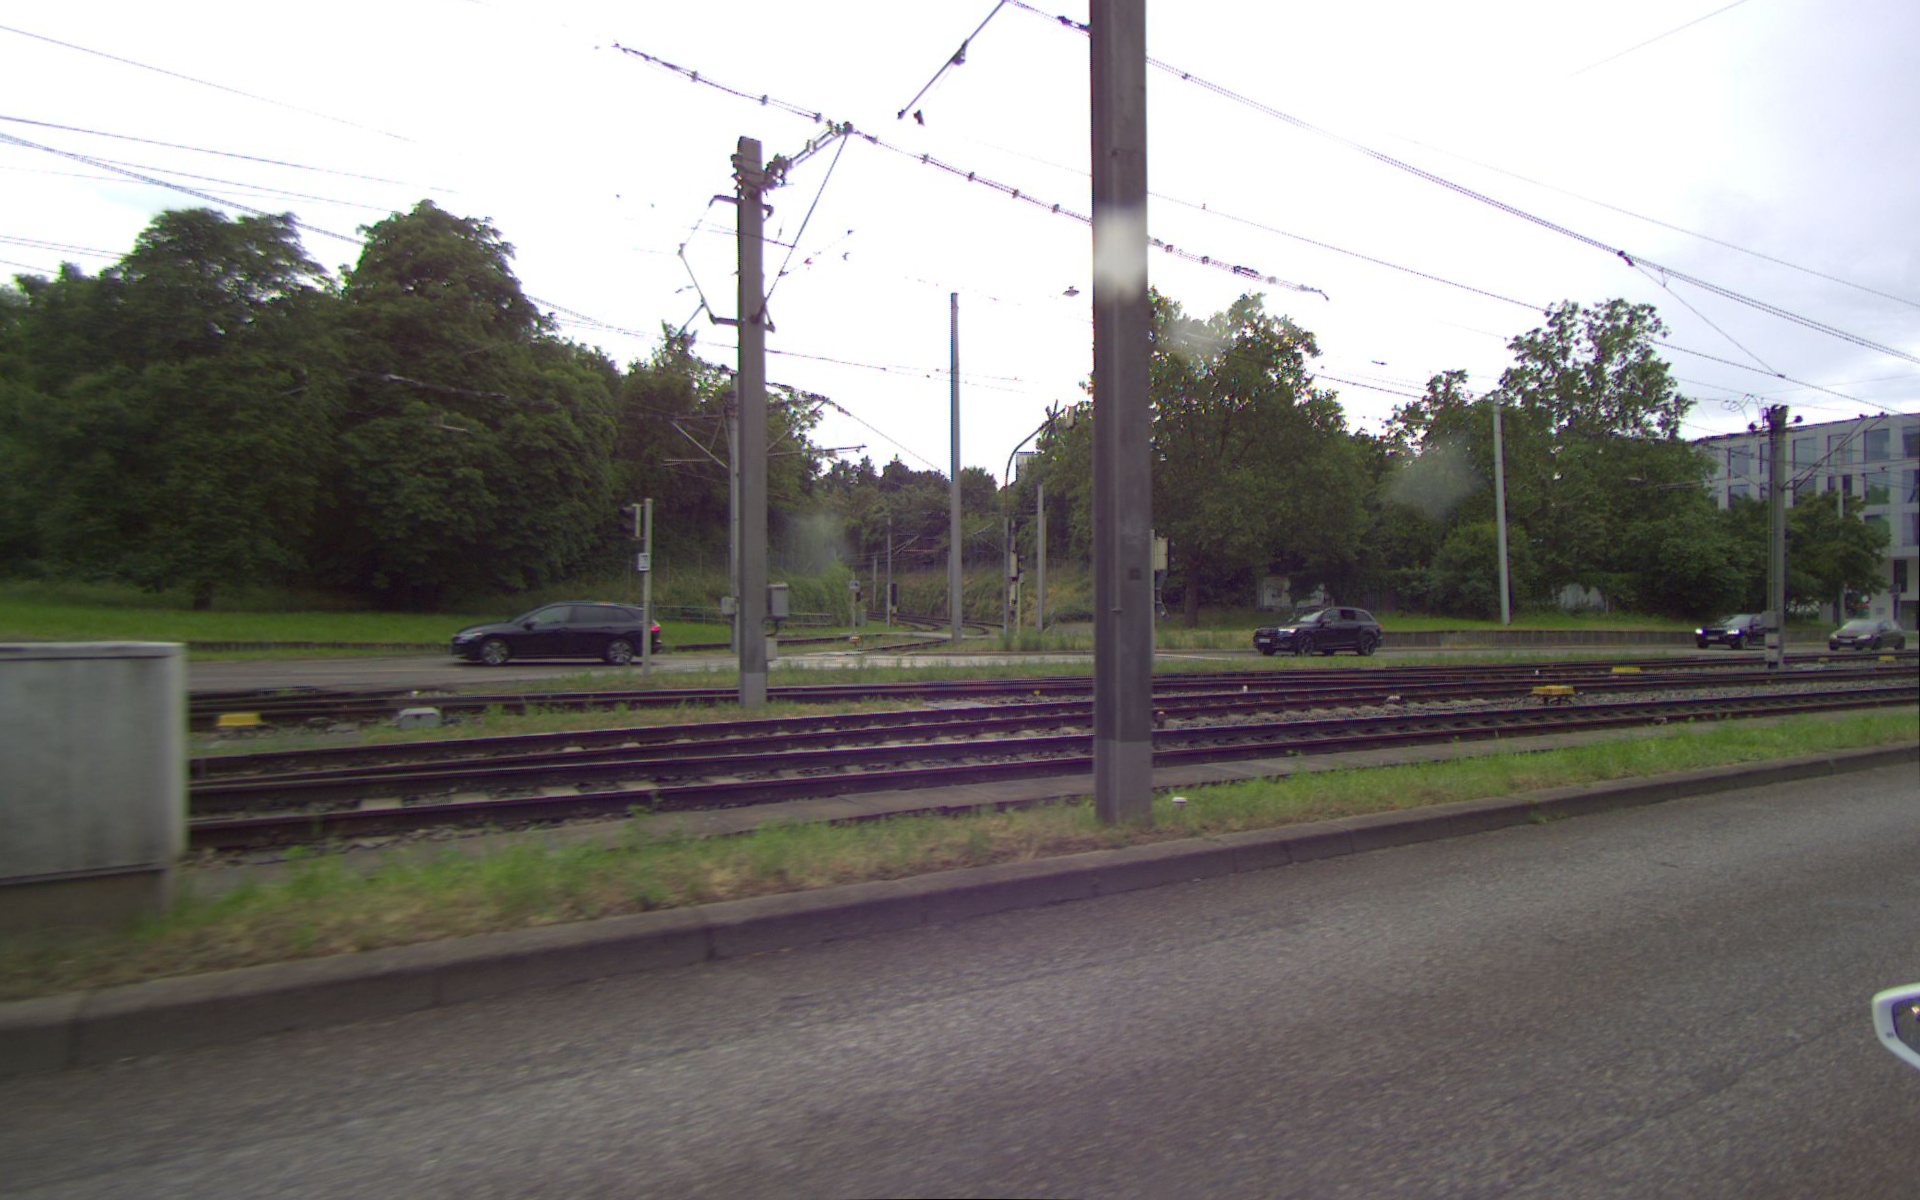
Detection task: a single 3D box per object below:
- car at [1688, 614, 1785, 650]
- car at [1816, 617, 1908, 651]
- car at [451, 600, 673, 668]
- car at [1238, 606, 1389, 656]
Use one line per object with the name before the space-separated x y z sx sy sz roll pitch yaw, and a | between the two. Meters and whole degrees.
car | 36.632 1.483 47.367 4.789 1.616 1.939 1 -1 -30
car | 42.334 1.579 47.127 4.254 1.506 1.883 1 -1 -28
car | -9.224 0.759 23.370 4.625 1.466 1.919 1 -1 -29
car | 12.318 1.055 34.936 5.092 1.610 2.081 1 -1 -28
